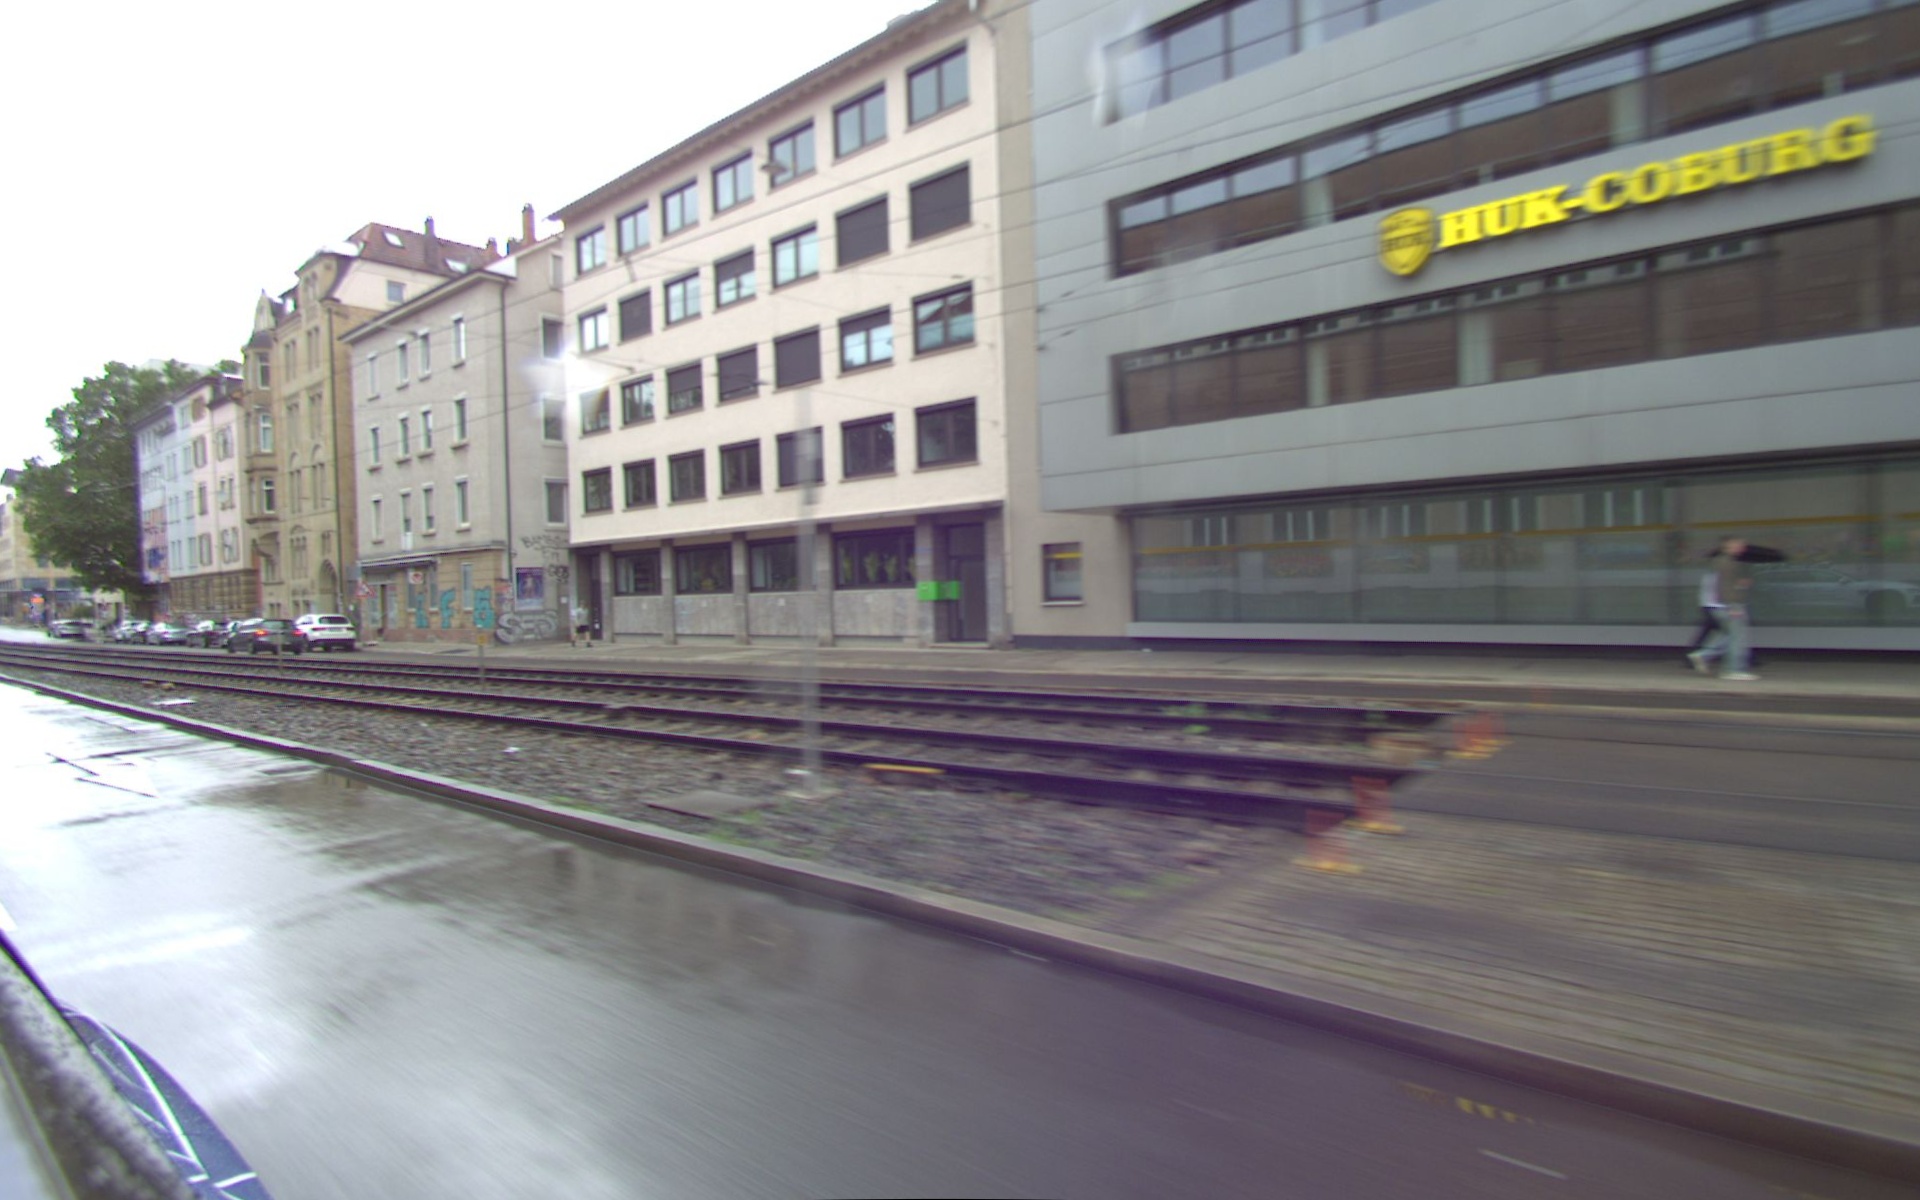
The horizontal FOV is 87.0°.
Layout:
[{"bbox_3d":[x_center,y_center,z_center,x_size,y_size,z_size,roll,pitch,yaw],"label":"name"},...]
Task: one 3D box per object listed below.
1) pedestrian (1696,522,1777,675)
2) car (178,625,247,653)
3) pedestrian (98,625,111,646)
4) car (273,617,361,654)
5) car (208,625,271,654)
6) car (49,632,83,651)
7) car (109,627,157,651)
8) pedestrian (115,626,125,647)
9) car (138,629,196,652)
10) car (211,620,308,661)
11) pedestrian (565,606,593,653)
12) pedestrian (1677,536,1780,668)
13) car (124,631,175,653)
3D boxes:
[{"bbox_3d":[10.621,-0.031,13.839,0.810,2.028,0.654,-1,2,41],"label":"pedestrian"},{"bbox_3d":[-41.429,2.134,56.038,5.019,1.467,1.973,-1,-3,41],"label":"car"},{"bbox_3d":[-75.872,3.145,89.762,0.536,1.883,0.798,-2,-1,44],"label":"pedestrian"},{"bbox_3d":[-28.510,1.569,44.795,4.746,1.548,1.973,-1,-3,41],"label":"car"},{"bbox_3d":[-37.503,2.047,52.644,4.168,1.467,1.718,-1,-3,41],"label":"car"},{"bbox_3d":[-79.023,3.625,89.427,4.227,1.553,1.818,-1,-1,42],"label":"car"},{"bbox_3d":[-57.527,2.666,70.372,4.224,1.617,1.820,-1,-1,40],"label":"car"},{"bbox_3d":[-75.256,3.242,90.703,0.536,1.883,0.642,-2,-1,44],"label":"pedestrian"},{"bbox_3d":[-49.445,2.513,63.082,5.020,1.408,1.972,-1,-3,42],"label":"car"},{"bbox_3d":[-27.850,1.580,40.202,4.342,1.548,1.921,-1,-3,38],"label":"car"},{"bbox_3d":[-13.648,1.050,36.220,0.799,1.624,0.541,-1,3,43],"label":"pedestrian"},{"bbox_3d":[11.178,0.012,14.746,0.652,1.829,0.975,-3,2,-10],"label":"pedestrian"},{"bbox_3d":[-53.327,2.735,66.553,4.262,1.408,1.820,-1,-1,40],"label":"car"}]
